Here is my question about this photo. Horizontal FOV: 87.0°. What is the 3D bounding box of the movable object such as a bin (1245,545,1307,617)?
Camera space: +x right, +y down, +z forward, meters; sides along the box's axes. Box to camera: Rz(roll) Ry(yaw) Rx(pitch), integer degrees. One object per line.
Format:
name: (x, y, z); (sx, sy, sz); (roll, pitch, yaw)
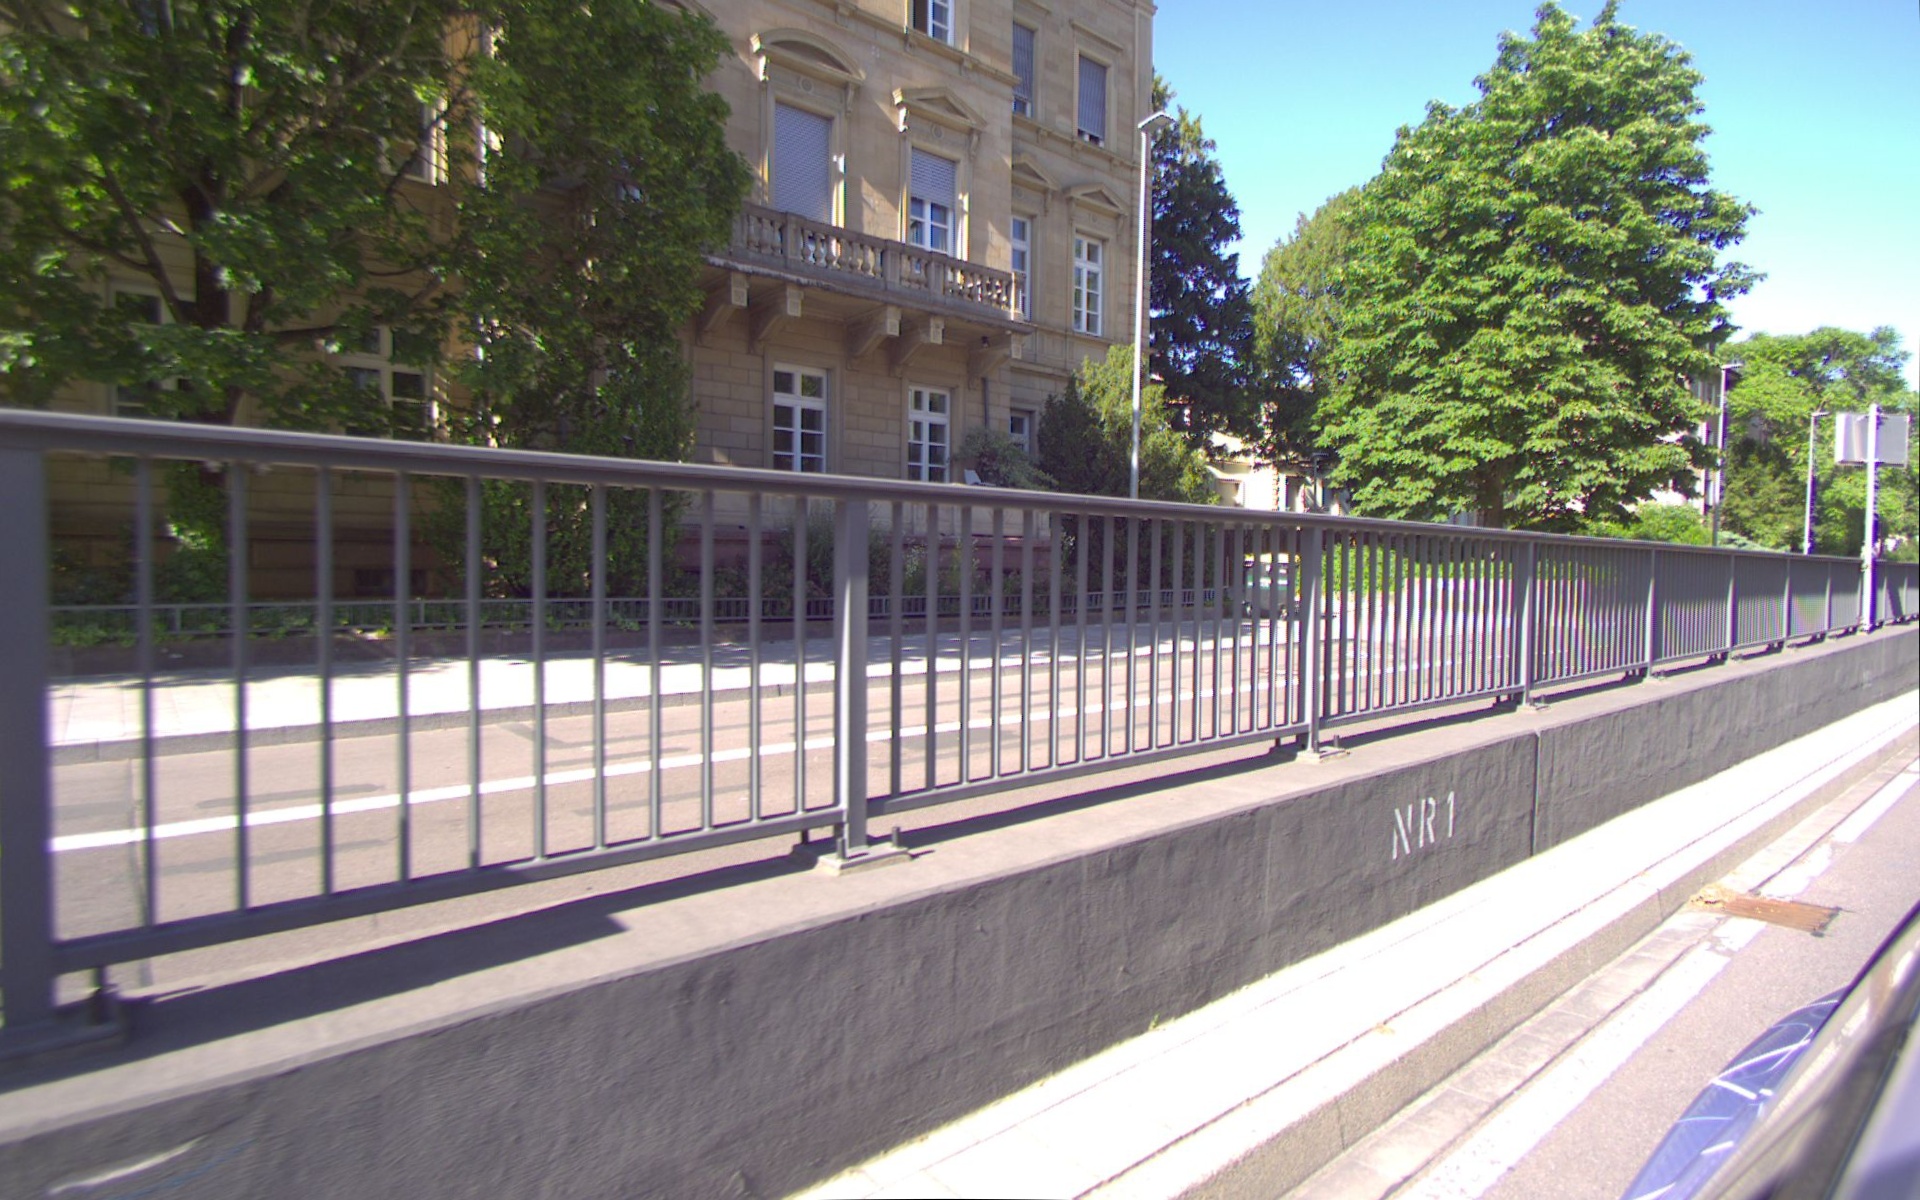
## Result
movable object such as a bin: (6.573, -0.408, 21.036); (0.964, 1.415, 1.276); (4, 3, 27)
